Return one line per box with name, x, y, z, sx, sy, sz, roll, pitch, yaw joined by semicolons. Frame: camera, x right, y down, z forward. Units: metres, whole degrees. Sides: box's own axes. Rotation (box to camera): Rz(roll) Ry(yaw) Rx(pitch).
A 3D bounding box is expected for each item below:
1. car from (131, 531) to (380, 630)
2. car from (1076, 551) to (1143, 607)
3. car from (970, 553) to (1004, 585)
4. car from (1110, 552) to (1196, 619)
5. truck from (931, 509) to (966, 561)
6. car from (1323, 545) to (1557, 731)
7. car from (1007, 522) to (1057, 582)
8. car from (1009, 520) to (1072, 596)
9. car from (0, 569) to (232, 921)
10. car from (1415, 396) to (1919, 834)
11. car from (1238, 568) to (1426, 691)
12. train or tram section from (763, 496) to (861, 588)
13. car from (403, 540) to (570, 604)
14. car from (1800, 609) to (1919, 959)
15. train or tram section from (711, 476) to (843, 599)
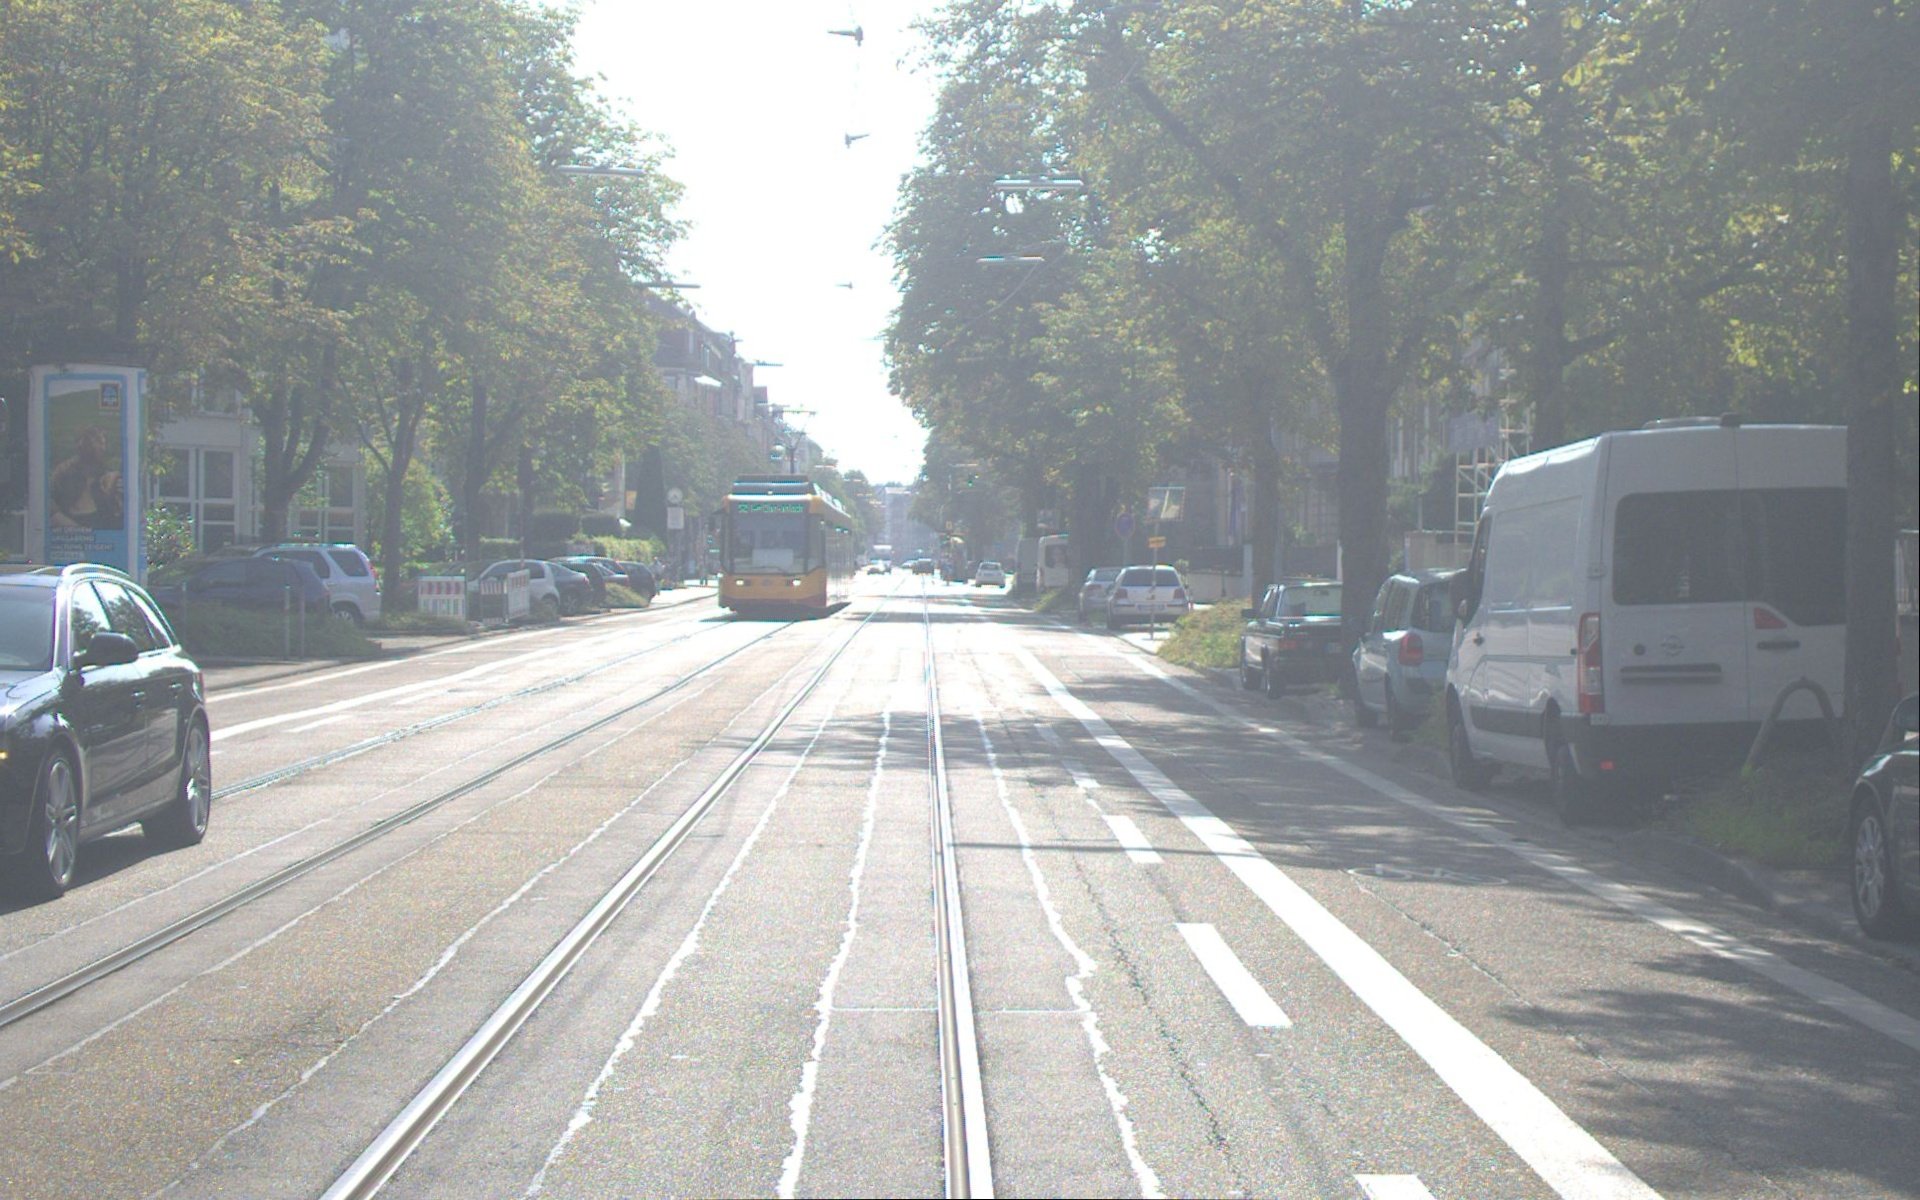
car;-11.922;-0.345;58.293;3.786;1.616;1.743;0;1;-45
car;3.899;-0.568;89.796;1.595;1.413;3.634;1;1;0
car;1.583;-1.799;200.250;1.993;1.831;4.000;1;1;1
car;4.253;-0.337;76.091;1.689;1.413;3.634;1;1;0
truck;-0.704;-3.905;206.635;1.860;3.120;4.353;1;1;-3
car;4.503;0.307;32.719;1.664;1.611;3.877;-1;1;0
car;3.025;-2.032;144.688;2.004;2.466;4.477;1;1;0
car;2.737;-1.442;117.881;2.004;2.482;4.477;2;1;0
car;-4.740;0.558;16.016;1.828;1.371;4.513;1;1;-1
car;4.667;0.049;23.544;2.082;2.544;5.502;-3;1;-2
car;4.533;0.319;42.465;1.753;1.373;4.719;-1;1;0
train or tram section;-4.766;-1.891;112.530;2.680;2.852;10.544;0;1;0
car;-10.948;-0.659;79.637;1.569;1.438;3.754;1;1;40
car;4.659;0.761;13.375;1.616;1.369;4.827;0;1;0
train or tram section;-4.618;-1.585;89.328;2.729;2.884;15.456;0;1;-1
